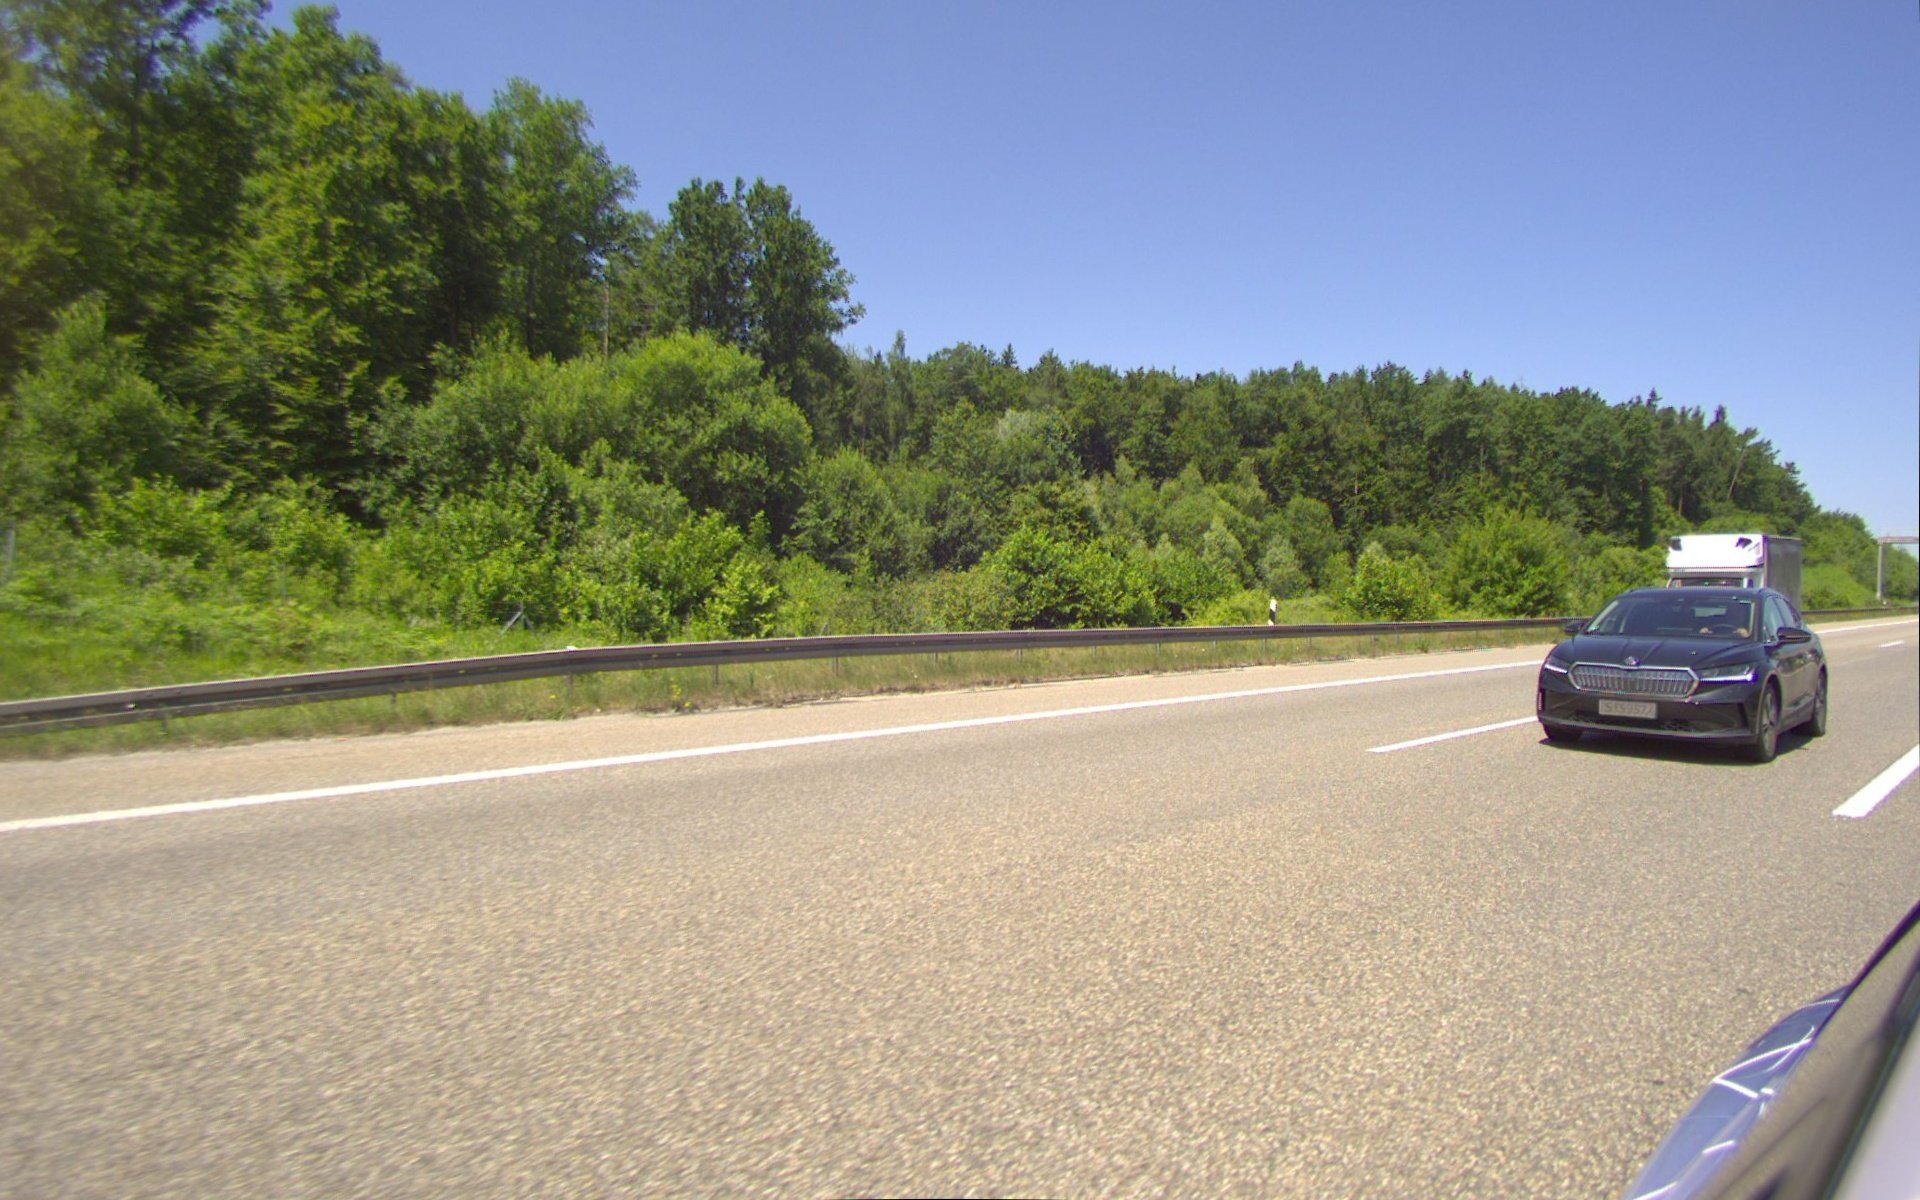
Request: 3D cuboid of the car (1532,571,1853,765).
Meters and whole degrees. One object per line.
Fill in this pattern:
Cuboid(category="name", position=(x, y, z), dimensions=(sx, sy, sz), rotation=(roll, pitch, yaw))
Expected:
Cuboid(category="car", position=(7.937, 0.539, 10.797), dimensions=(4.382, 1.639, 1.987), rotation=(-1, 1, -43))

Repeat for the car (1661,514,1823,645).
Cuboid(category="car", position=(22.929, -0.580, 29.498), dimensions=(7.489, 3.378, 2.301), rotation=(-1, 0, -41))
